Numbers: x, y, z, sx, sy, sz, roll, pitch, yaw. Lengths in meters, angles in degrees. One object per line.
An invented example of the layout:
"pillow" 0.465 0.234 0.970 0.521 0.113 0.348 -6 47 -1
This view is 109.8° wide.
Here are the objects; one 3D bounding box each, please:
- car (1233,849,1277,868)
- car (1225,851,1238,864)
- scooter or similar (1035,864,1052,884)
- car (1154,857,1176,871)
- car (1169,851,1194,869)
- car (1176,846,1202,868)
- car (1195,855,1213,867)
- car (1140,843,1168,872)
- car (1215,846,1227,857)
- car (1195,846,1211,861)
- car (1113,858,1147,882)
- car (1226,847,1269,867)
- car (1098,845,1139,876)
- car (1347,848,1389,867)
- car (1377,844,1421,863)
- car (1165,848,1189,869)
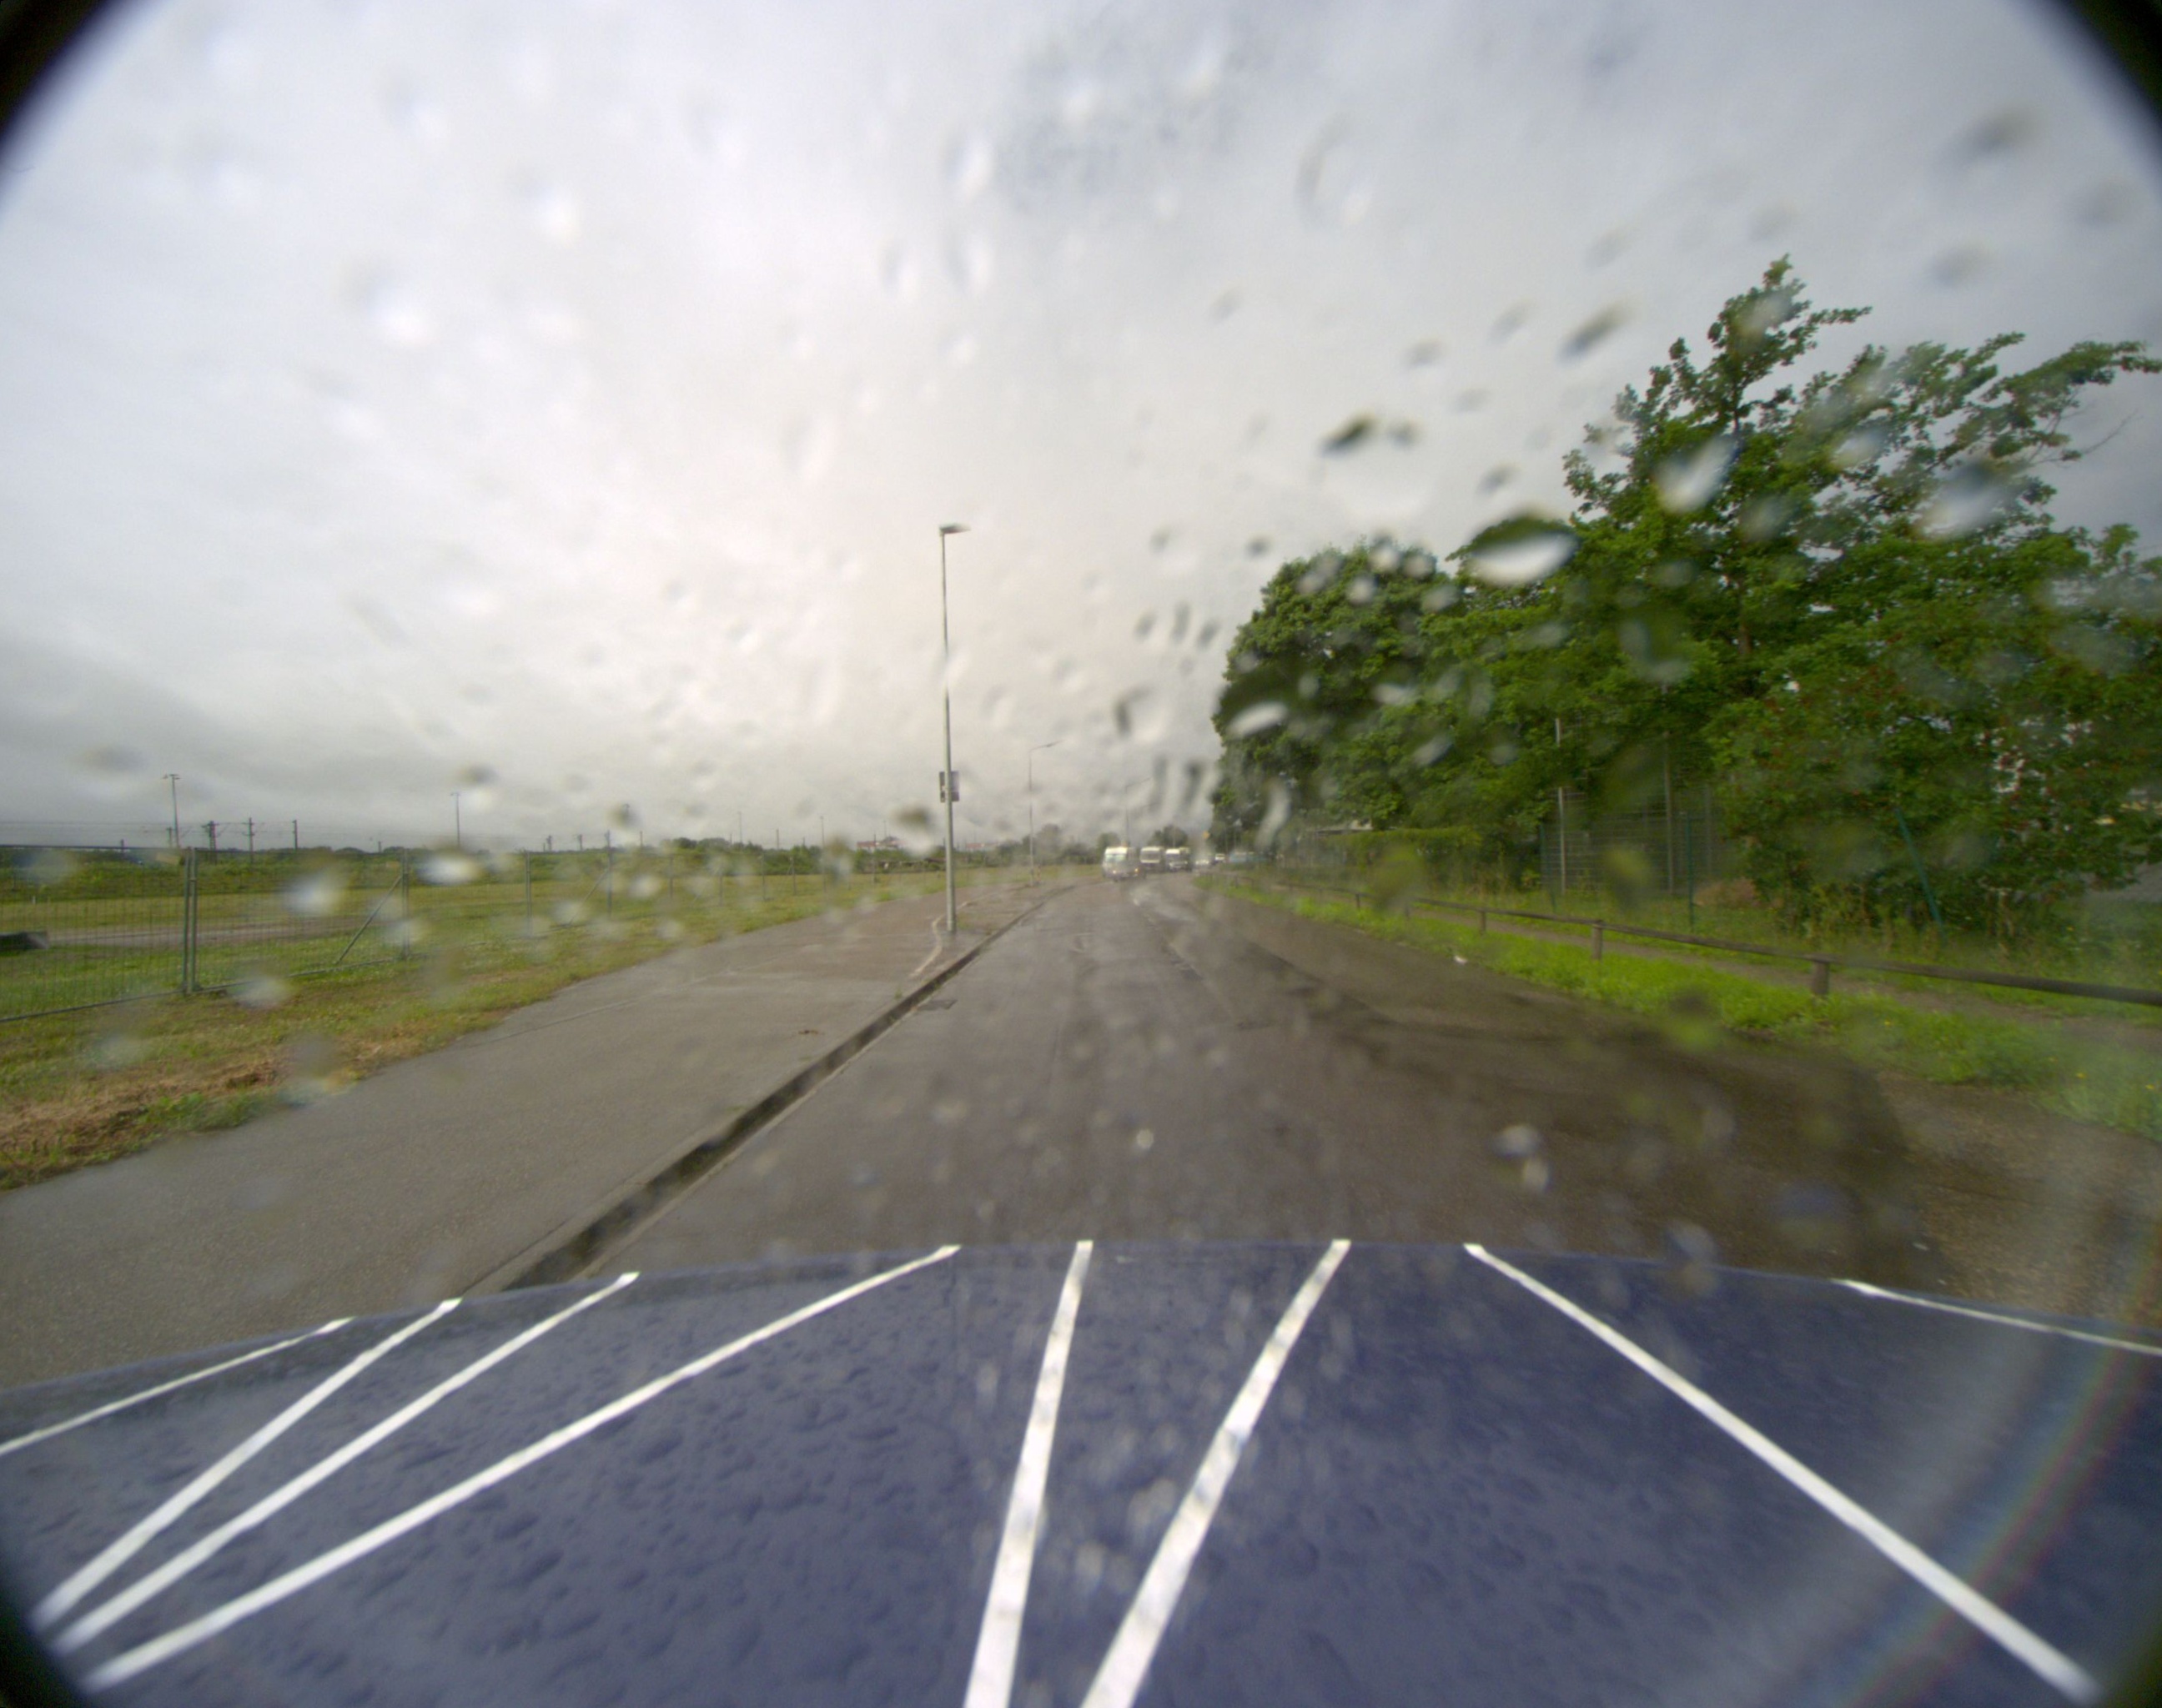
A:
"car" 17.701 0.451 77.270 4.179 1.540 1.862 -5 0 15
"car" 27.447 0.619 138.267 1.997 2.001 4.004 -5 -1 14
"scooter or similar" -2.288 1.227 46.583 0.491 1.208 1.342 -2 0 24
"car" 9.635 1.157 87.097 1.732 1.485 4.447 0 0 17
"car" 10.388 0.558 78.310 2.008 1.695 4.334 -4 0 15
"car" 15.247 0.345 106.771 2.474 2.938 6.895 -1 0 18
"car" 16.126 0.901 99.445 1.839 1.510 4.362 -2 0 16
"car" 7.749 0.339 80.201 2.147 2.867 5.281 1 1 14
"car" 28.886 -0.492 157.031 1.996 2.228 4.569 -2 0 15
"car" 20.021 -0.071 124.219 1.996 2.228 4.569 -2 0 15
"car" 3.342 1.039 51.214 1.872 1.510 4.360 -1 0 9
"car" 16.020 0.301 72.998 3.816 1.623 1.757 -5 0 18
"car" 3.205 0.503 63.679 2.094 2.458 5.954 -1 1 15
"car" 23.763 0.242 63.006 1.642 1.388 4.187 -4 1 -2
"car" 26.125 -0.079 62.587 1.687 1.388 4.128 -4 1 -2
"car" 12.404 0.552 97.780 2.071 2.514 6.666 0 0 17
